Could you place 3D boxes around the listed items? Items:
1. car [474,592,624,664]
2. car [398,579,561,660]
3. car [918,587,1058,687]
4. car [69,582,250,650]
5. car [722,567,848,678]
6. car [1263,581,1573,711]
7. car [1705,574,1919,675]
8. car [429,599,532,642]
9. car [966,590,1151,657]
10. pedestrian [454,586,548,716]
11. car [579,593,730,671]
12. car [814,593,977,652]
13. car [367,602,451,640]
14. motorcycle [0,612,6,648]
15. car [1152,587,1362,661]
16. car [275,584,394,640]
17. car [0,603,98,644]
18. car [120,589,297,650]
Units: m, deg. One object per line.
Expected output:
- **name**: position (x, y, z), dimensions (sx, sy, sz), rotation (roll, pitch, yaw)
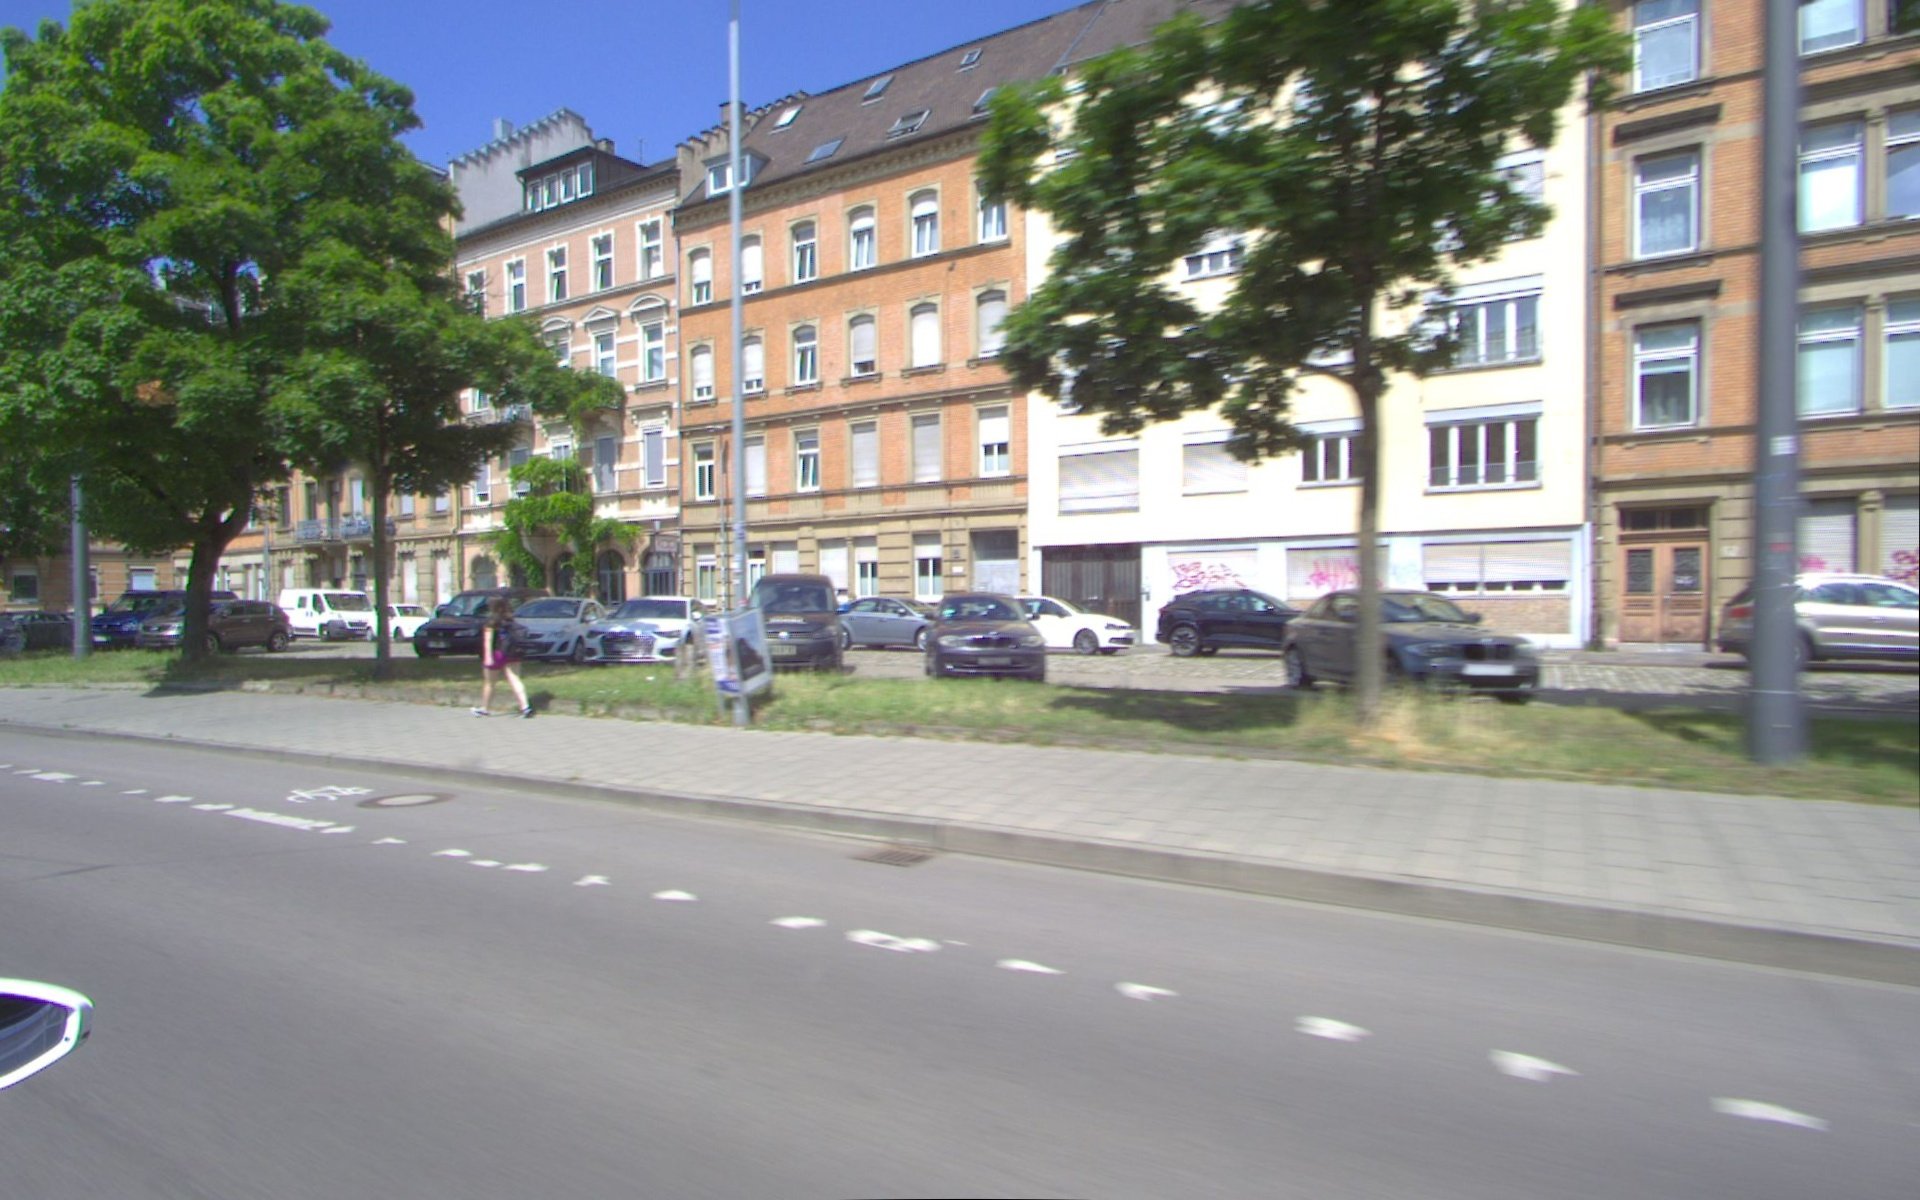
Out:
- **car**: position (-8.840, 0.594, 21.921), dimensions (1.816, 1.424, 4.085), rotation (0, -1, -4)
- **car**: position (-11.267, 0.460, 23.825), dimensions (1.816, 1.763, 4.150), rotation (0, -1, 1)
- **car**: position (0.309, 0.552, 16.236), dimensions (1.816, 1.398, 4.269), rotation (0, -1, -5)
- **car**: position (-24.734, 0.491, 31.197), dimensions (1.879, 1.952, 4.631), rotation (0, -1, 1)
- **car**: position (-3.028, 0.396, 18.123), dimensions (1.816, 1.763, 4.366), rotation (0, -1, -5)
- **car**: position (5.647, 0.531, 13.031), dimensions (1.816, 1.398, 4.269), rotation (0, -1, -5)
- **car**: position (15.641, 0.407, 17.162), dimensions (4.431, 1.636, 1.829), rotation (-1, -1, 32)
- **car**: position (-17.711, 0.771, 36.928), dimensions (3.798, 1.511, 1.656), rotation (-1, -1, 32)
- **car**: position (2.399, 0.572, 24.642), dimensions (4.166, 1.511, 1.829), rotation (-1, -1, 32)
- **pedestrian**: position (-5.924, 0.641, 12.931), dimensions (0.892, 1.613, 0.699), rotation (0, 1, 31)
- **car**: position (-6.048, 0.616, 20.392), dimensions (1.816, 1.398, 4.694), rotation (0, -1, -3)
- **car**: position (-1.771, 0.612, 27.243), dimensions (4.166, 1.511, 1.829), rotation (-1, -1, 32)
- **car**: position (-21.646, 0.795, 39.331), dimensions (3.304, 1.422, 1.559), rotation (-1, 1, 34)
- **motorcycle**: position (-32.640, 1.012, 32.866), dimensions (0.630, 1.182, 1.780), rotation (0, 1, 30)
- **car**: position (6.595, 0.524, 22.347), dimensions (4.166, 1.511, 1.829), rotation (-1, -1, 32)
- **car**: position (-26.223, 0.540, 41.922), dimensions (5.316, 2.207, 2.107), rotation (-1, -1, 32)
- **car**: position (-34.981, 0.854, 37.395), dimensions (1.770, 1.446, 4.258), rotation (-1, 0, 2)
- **car**: position (-22.160, 0.585, 29.760), dimensions (1.879, 1.678, 4.175), rotation (0, -1, 5)
